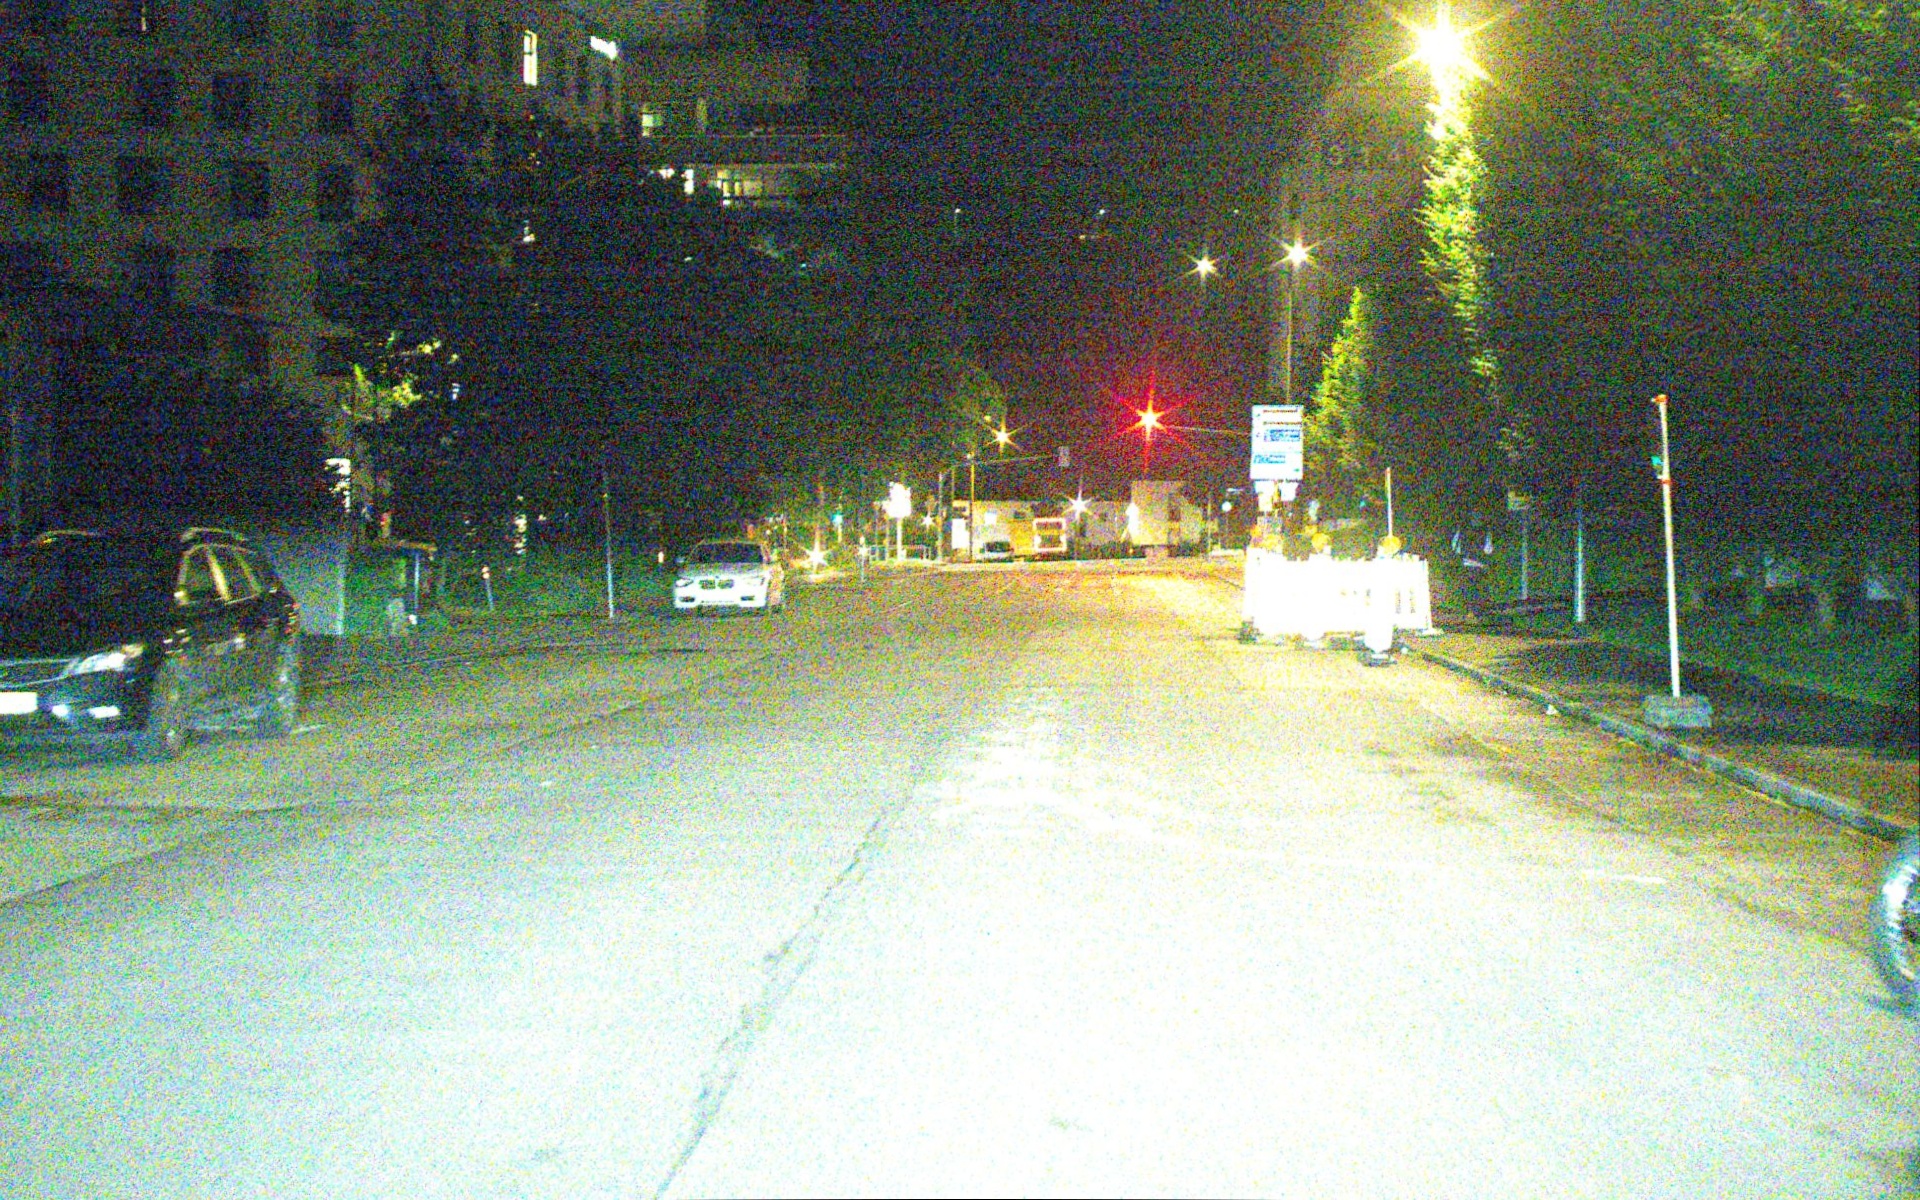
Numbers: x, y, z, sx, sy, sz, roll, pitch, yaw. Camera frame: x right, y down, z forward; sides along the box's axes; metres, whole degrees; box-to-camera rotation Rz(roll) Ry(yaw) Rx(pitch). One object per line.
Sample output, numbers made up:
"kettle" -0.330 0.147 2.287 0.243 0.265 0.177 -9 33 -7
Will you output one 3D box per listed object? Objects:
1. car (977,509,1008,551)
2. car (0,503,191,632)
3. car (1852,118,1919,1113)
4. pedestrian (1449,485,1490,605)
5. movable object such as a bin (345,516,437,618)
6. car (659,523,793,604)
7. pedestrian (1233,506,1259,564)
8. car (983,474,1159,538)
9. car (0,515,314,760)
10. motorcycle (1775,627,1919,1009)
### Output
"car" 2.324 -4.987 244.079 1.993 2.963 4.001 0 1 -2
"car" -11.953 -0.403 43.483 3.987 1.565 1.817 -1 1 3
"car" 3.358 0.100 6.305 2.021 2.518 6.051 1 1 2
"pedestrian" 7.893 -0.853 53.268 0.570 1.846 0.820 0 1 4
"movable object such as a bin" -8.408 -0.499 50.869 1.164 1.490 1.066 0 1 0
"car" -4.259 -0.694 63.225 1.911 1.399 4.337 -1 1 3
"pedestrian" 9.812 -2.215 117.840 0.737 1.975 0.626 -1 1 -13
"car" 8.266 -7.037 257.101 12.380 4.693 4.811 0 1 -11
"car" -5.867 0.195 23.584 1.755 1.521 4.322 0 1 4
"motorcycle" 3.769 0.717 10.827 2.183 1.179 0.767 2 1 34
